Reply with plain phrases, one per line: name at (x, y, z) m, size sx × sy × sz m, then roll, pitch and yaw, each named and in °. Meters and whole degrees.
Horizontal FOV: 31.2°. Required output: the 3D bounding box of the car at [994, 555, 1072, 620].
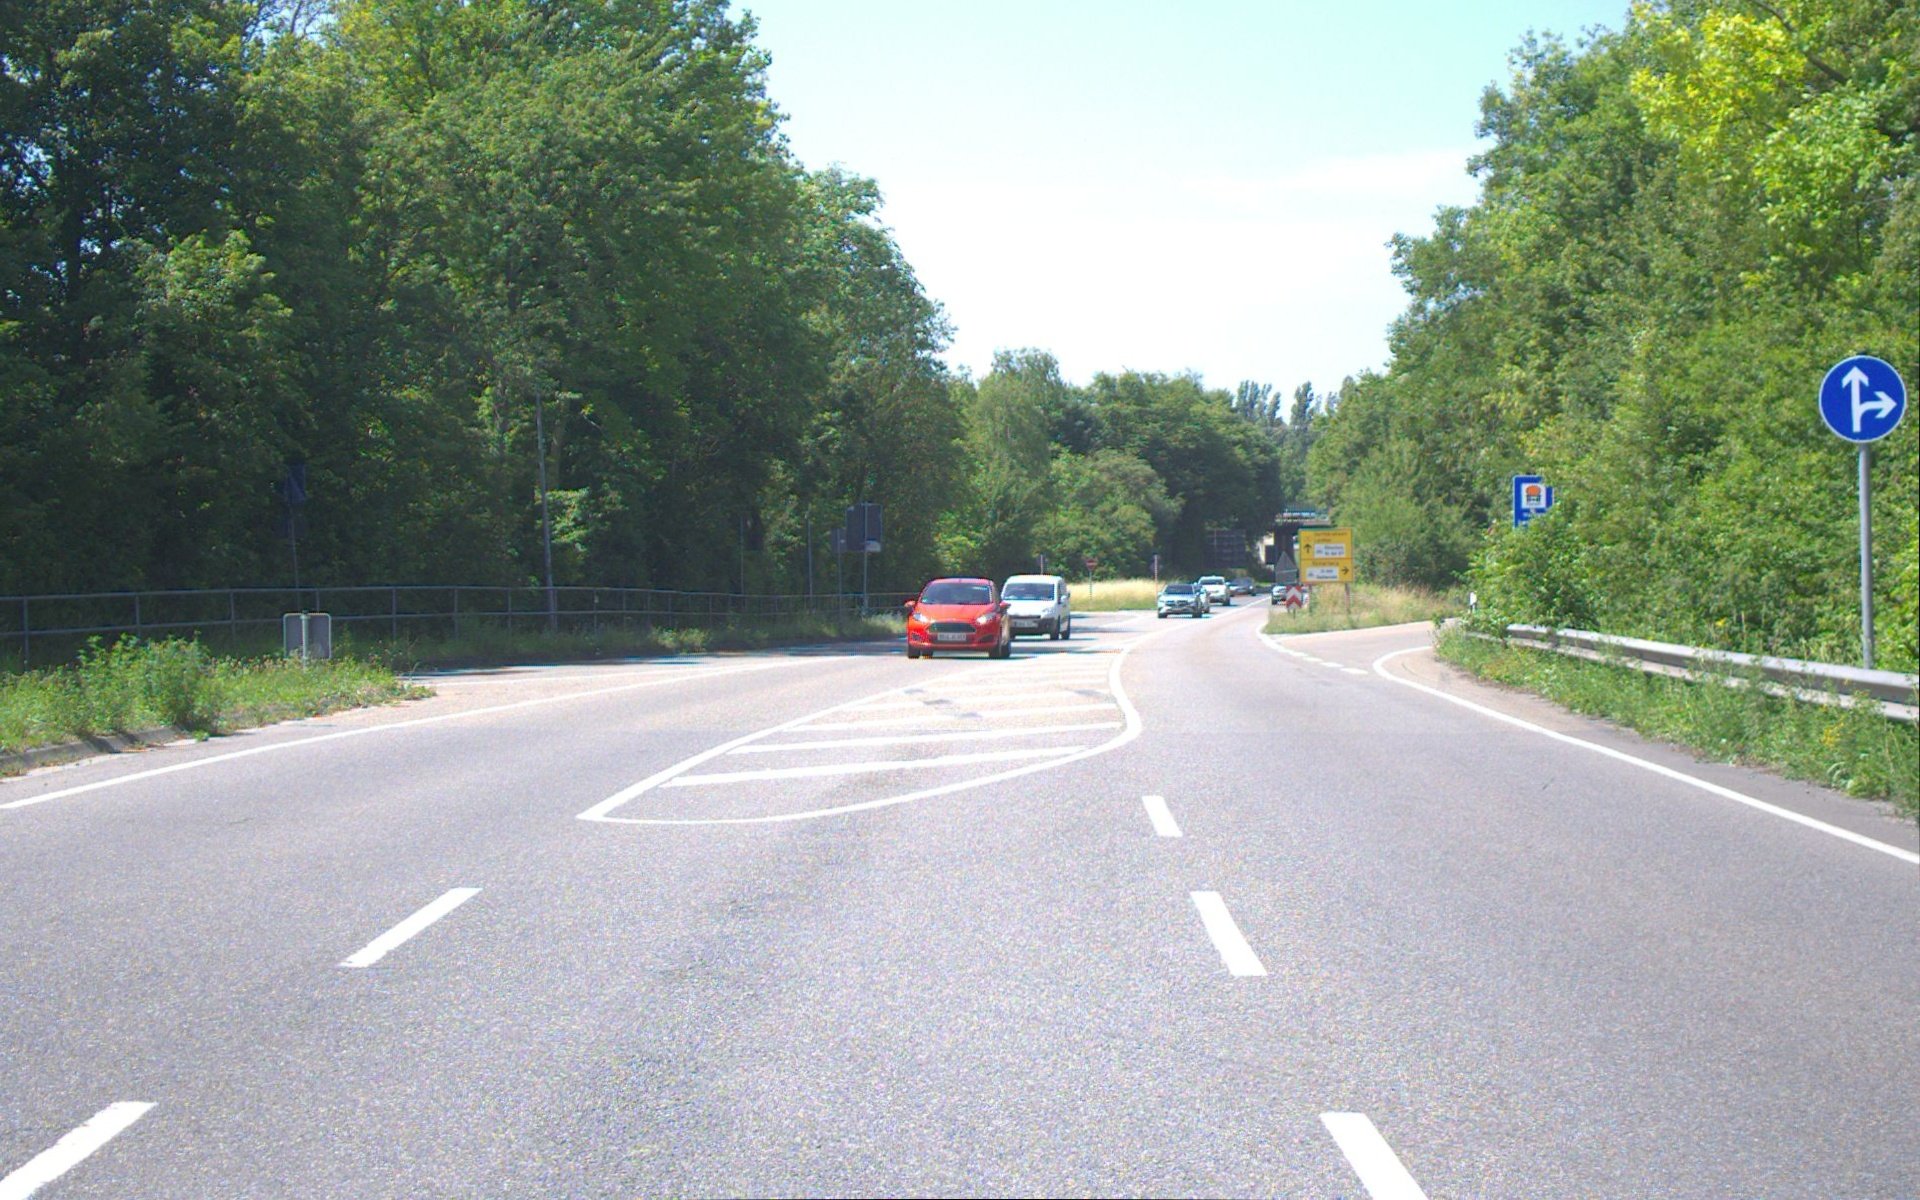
car at (2.070, -0.370, 96.105) m, size 1.994 × 1.724 × 4.274 m, roll -1°, pitch 1°, yaw 3°

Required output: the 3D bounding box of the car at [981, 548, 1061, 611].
car at (3.157, -1.101, 178.458) m, size 1.993 × 3.215 × 4.809 m, roll -1°, pitch 1°, yaw -28°

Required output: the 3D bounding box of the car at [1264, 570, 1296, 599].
car at (19.312, -0.930, 207.431) m, size 1.843 × 1.679 × 4.000 m, roll 0°, pitch 1°, yaw 4°

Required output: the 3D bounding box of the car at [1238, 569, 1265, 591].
car at (20.536, -1.403, 242.484) m, size 1.720 × 1.504 × 3.708 m, roll 0°, pitch 1°, yaw 7°

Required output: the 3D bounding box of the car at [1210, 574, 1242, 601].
car at (15.698, -0.764, 202.894) m, size 1.720 × 1.523 × 3.709 m, roll 0°, pitch 1°, yaw 6°

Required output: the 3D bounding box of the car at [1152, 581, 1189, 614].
car at (9.994, -0.120, 163.017) m, size 1.677 × 1.522 × 3.999 m, roll 0°, pitch 1°, yaw 5°

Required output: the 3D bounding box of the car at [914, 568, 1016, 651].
car at (0.062, 0.159, 63.036) m, size 1.810 × 1.453 × 3.758 m, roll 0°, pitch 1°, yaw -1°
